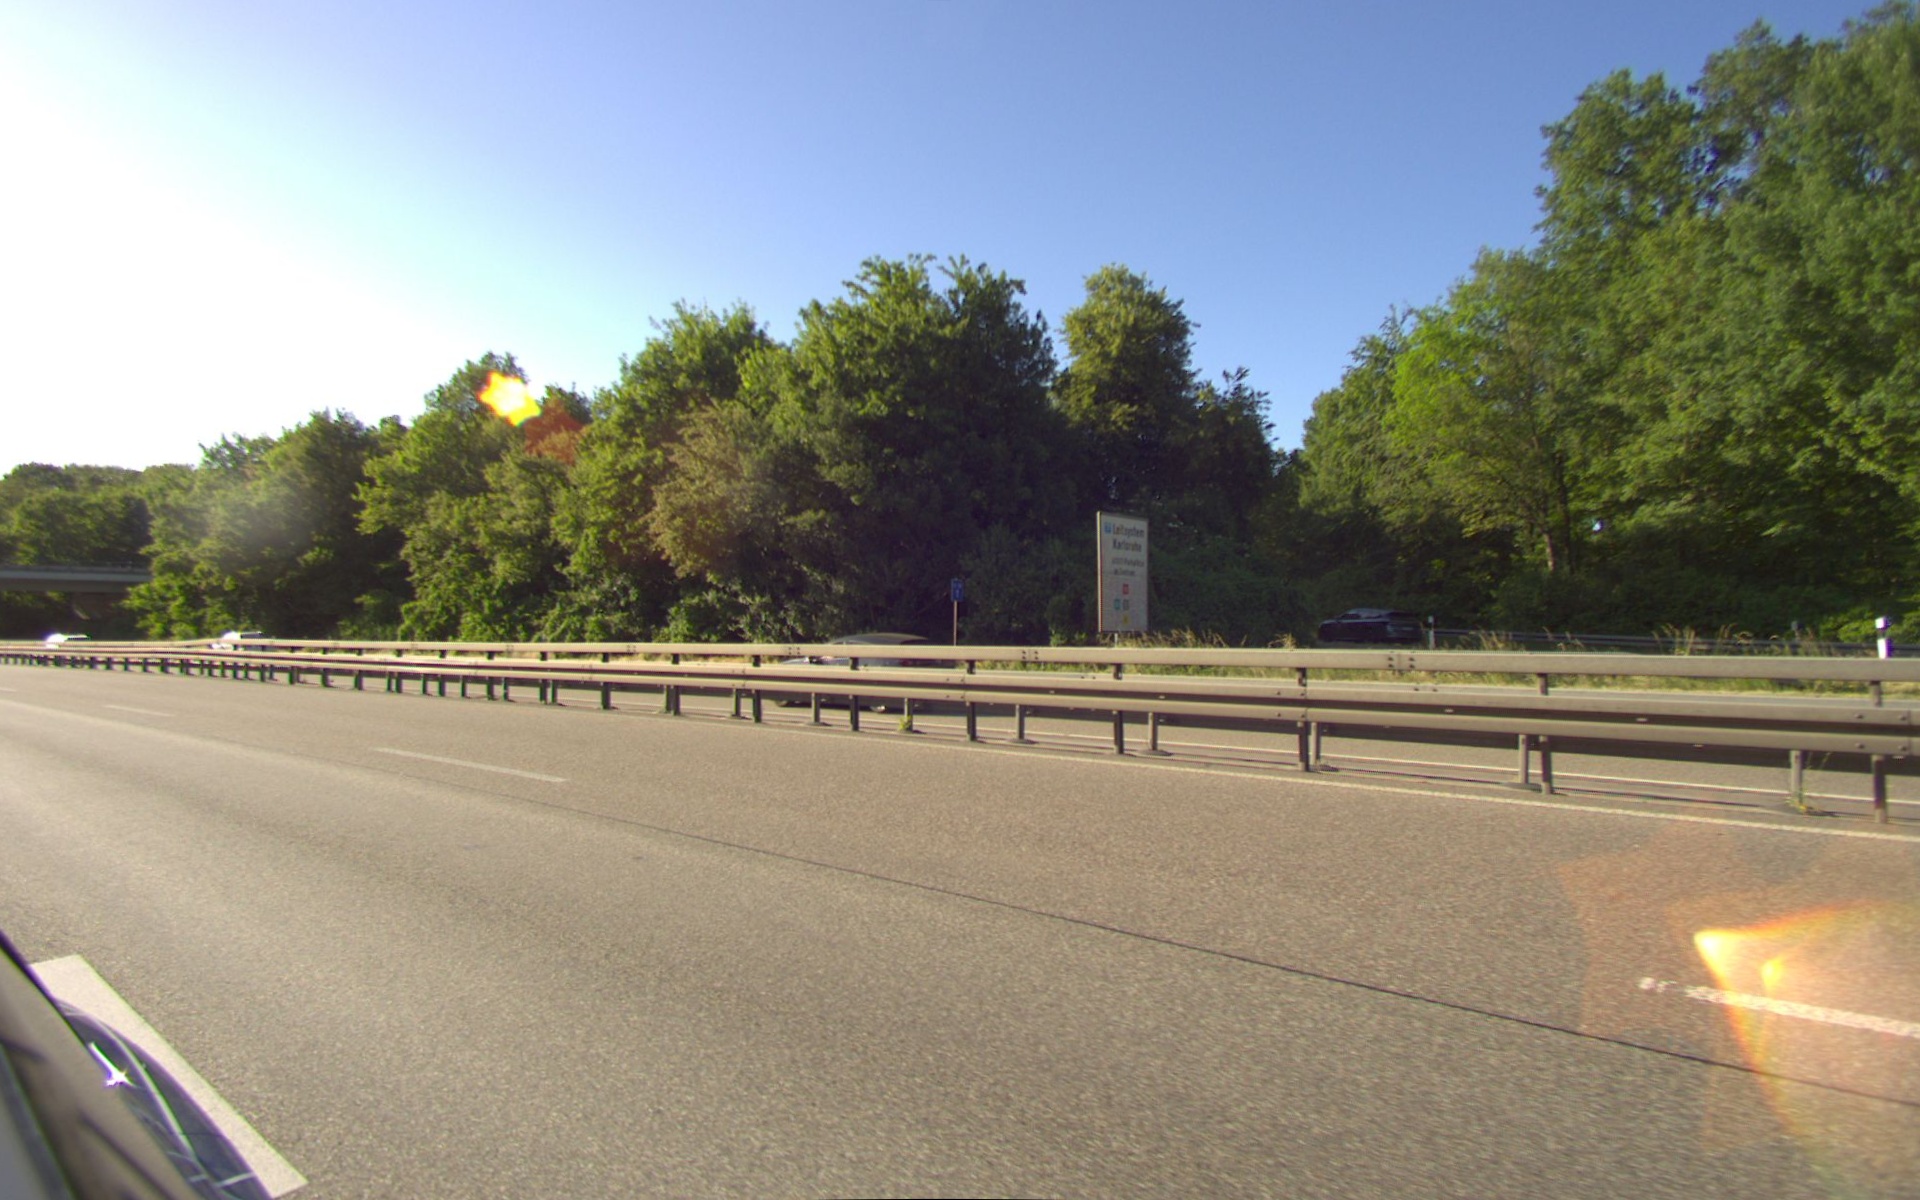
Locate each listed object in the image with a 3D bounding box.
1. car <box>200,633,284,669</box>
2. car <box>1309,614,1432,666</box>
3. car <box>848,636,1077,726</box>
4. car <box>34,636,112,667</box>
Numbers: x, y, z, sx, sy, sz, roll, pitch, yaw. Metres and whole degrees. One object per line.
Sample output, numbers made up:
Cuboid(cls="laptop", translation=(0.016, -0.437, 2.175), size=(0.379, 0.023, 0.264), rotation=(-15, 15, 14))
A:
Cuboid(cls="car", translation=(-35.758, 2.520, 50.366), size=(4.411, 1.662, 1.977), rotation=(-2, -2, 34))
Cuboid(cls="car", translation=(16.211, 1.533, 40.234), size=(1.966, 1.874, 4.679), rotation=(0, 0, -18))
Cuboid(cls="car", translation=(-0.020, 1.392, 18.375), size=(3.996, 1.443, 1.715), rotation=(-2, -2, 40))
Cuboid(cls="car", translation=(-46.874, 2.686, 53.457), size=(4.408, 1.524, 1.978), rotation=(-2, -1, 32))
